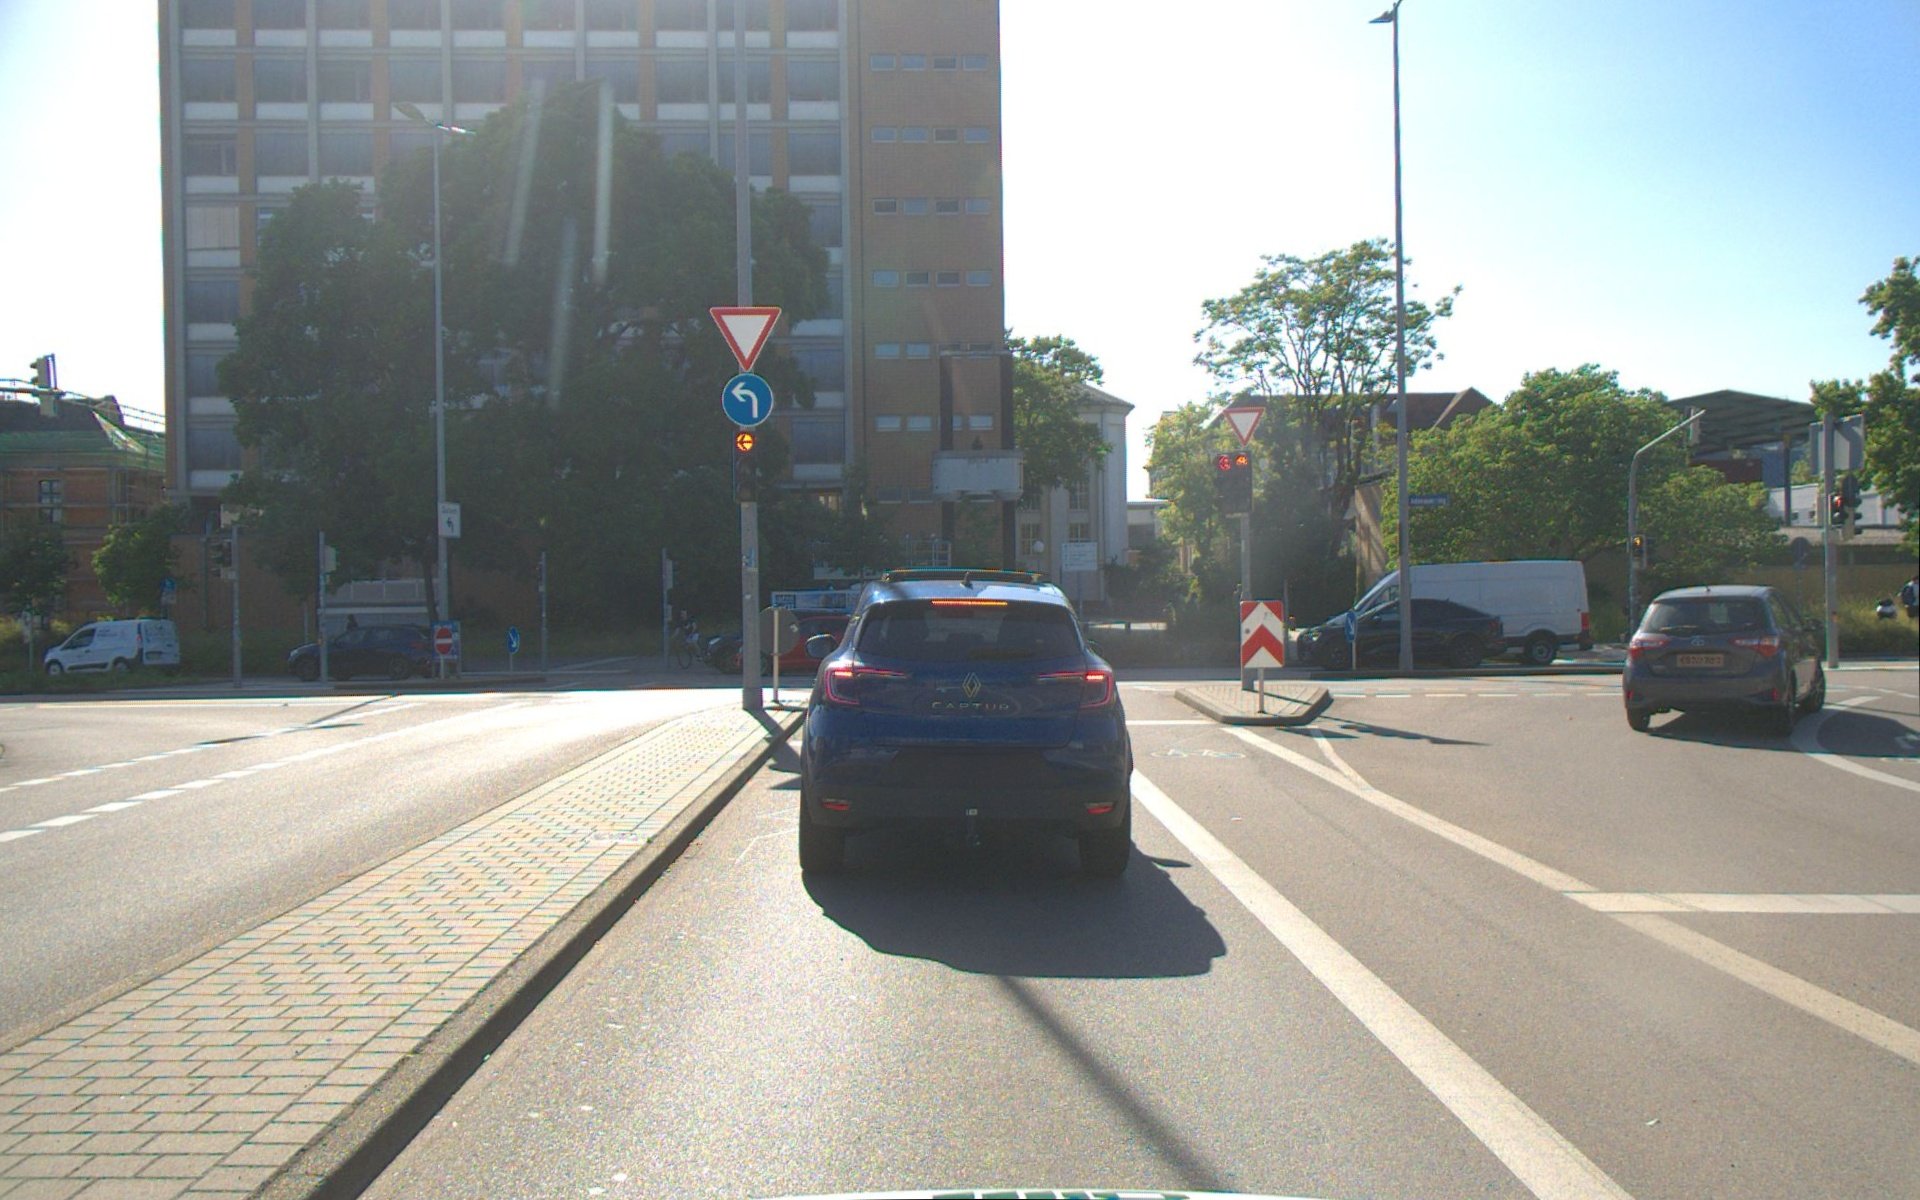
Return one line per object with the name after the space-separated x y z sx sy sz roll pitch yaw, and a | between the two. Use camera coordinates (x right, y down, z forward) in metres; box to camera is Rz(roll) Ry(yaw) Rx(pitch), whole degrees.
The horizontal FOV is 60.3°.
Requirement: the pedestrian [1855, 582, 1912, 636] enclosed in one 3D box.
26.941 0.248 48.283 1.105 1.547 0.991 -1 0 2 | pedestrian

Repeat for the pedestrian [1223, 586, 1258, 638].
11.269 0.460 66.484 1.132 2.049 1.164 -1 0 -1 | pedestrian

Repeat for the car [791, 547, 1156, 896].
0.006 0.578 9.979 1.758 1.684 3.852 1 0 -2 | car

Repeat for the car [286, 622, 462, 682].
-15.397 1.360 43.571 3.817 1.474 2.103 -1 0 9 | car

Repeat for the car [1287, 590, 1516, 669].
10.278 0.689 38.817 4.923 1.702 2.001 1 -1 6 | car

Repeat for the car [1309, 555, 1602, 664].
12.512 0.239 42.368 6.787 2.591 3.015 -1 0 8 | car

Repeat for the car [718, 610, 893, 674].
-3.818 1.030 41.268 3.958 1.464 2.067 -1 0 7 | car

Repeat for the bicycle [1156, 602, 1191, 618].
11.439 0.540 88.598 1.739 0.837 0.763 -1 0 -11 | bicycle

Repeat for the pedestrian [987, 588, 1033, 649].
1.579 0.564 51.938 1.269 1.888 0.967 -1 0 10 | pedestrian

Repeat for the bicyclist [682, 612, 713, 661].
-7.794 1.083 49.130 0.634 1.437 0.638 -2 -2 22 | bicyclist

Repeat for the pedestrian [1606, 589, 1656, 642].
19.785 0.445 48.778 1.122 1.547 0.942 -1 0 5 | pedestrian

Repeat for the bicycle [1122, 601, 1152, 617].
10.735 0.538 100.386 1.735 0.914 0.765 -1 0 -1 | bicycle

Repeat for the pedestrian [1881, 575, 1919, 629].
27.158 0.052 47.464 0.951 1.547 0.886 -1 0 2 | pedestrian

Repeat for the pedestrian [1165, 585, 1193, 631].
8.640 0.320 65.331 0.933 1.772 0.984 -1 0 -1 | pedestrian

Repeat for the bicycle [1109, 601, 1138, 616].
10.372 0.548 104.743 1.735 0.908 0.765 -1 0 -1 | bicycle

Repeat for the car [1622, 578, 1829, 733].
8.808 0.533 18.870 1.705 1.542 3.991 1 1 31 | car

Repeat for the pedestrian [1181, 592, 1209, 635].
9.216 0.521 64.961 0.917 1.641 1.175 -1 0 -1 | pedestrian

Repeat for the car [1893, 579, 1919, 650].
24.202 0.287 37.623 4.740 1.609 2.103 -1 0 5 | car

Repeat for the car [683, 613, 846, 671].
-5.286 1.137 45.067 3.958 1.464 2.067 -1 0 10 | car

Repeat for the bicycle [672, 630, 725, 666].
-7.766 1.413 49.167 0.684 1.025 1.868 -3 -3 22 | bicycle

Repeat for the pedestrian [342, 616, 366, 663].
-20.956 1.375 57.221 0.522 1.598 0.555 -1 0 24 | pedestrian

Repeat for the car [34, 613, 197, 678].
-26.165 1.396 51.264 4.083 1.913 2.216 -1 0 16 | car
